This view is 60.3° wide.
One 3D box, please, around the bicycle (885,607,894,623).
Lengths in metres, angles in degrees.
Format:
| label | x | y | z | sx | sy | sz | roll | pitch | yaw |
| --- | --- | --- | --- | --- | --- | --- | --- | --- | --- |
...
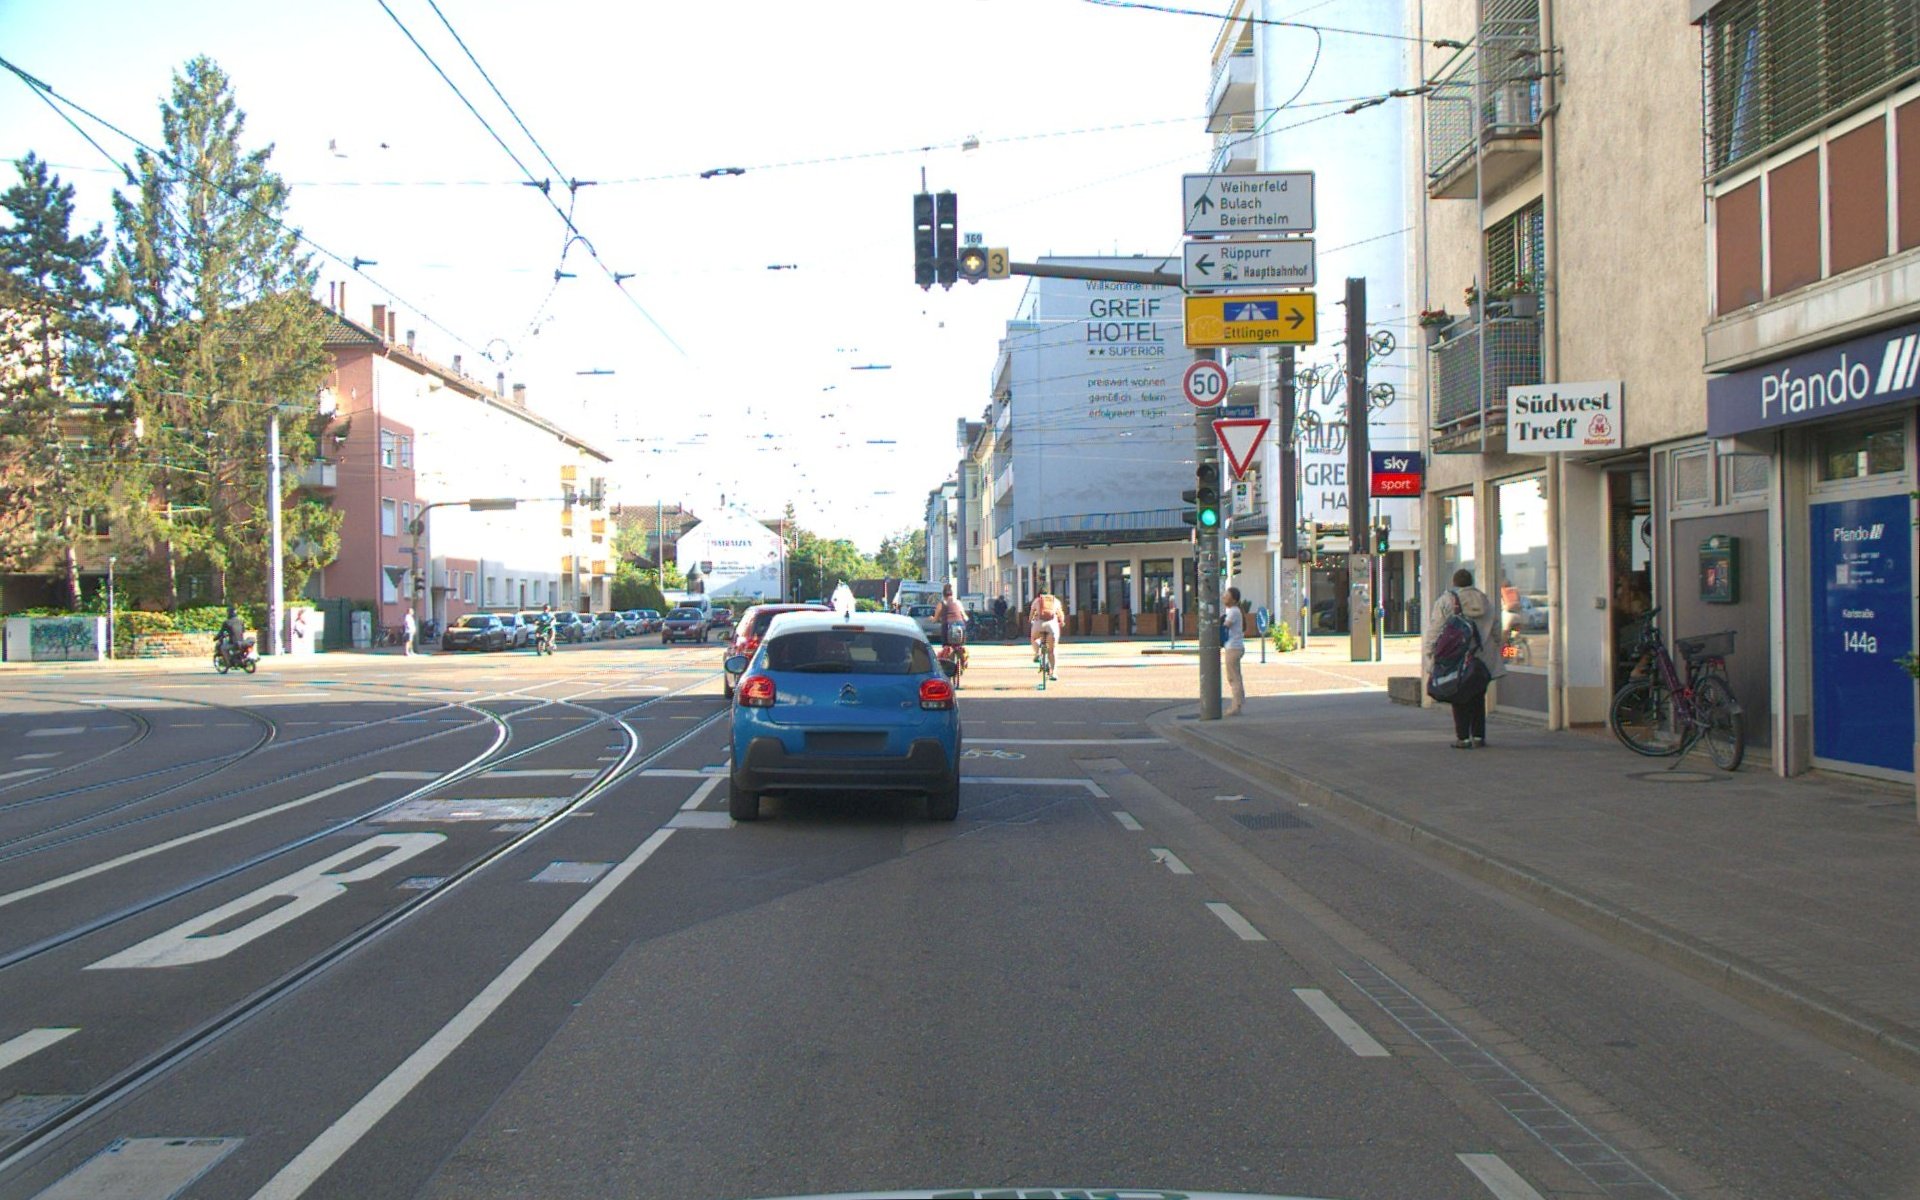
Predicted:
| label | x | y | z | sx | sy | sz | roll | pitch | yaw |
| --- | --- | --- | --- | --- | --- | --- | --- | --- | --- |
| bicycle | -7.596 | 1.633 | 177.467 | 0.774 | 1.699 | 2.230 | 1 | -1 | 3 |

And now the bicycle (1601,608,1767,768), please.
| label | x | y | z | sx | sy | sz | roll | pitch | yaw |
| --- | --- | --- | --- | --- | --- | --- | --- | --- | --- |
| bicycle | 5.701 | 0.663 | 13.127 | 0.486 | 1.182 | 1.776 | 0 | -1 | -2 |

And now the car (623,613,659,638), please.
| label | x | y | z | sx | sy | sz | roll | pitch | yaw |
| --- | --- | --- | --- | --- | --- | --- | --- | --- | --- |
| car | -21.334 | 1.672 | 110.676 | 1.832 | 1.604 | 3.997 | 1 | -1 | -4 |

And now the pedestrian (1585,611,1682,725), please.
| label | x | y | z | sx | sy | sz | roll | pitch | yaw |
| --- | --- | --- | --- | --- | --- | --- | --- | --- | --- |
| pedestrian | 6.776 | 0.669 | 16.654 | 0.618 | 1.107 | 0.670 | -2 | 0 | -36 |

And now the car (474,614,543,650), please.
| label | x | y | z | sx | sy | sz | roll | pitch | yaw |
| --- | --- | --- | --- | --- | --- | --- | --- | --- | --- |
| car | -19.757 | 1.386 | 72.510 | 1.865 | 1.462 | 4.102 | 1 | -1 | -1 |

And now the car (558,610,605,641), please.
| label | x | y | z | sx | sy | sz | roll | pitch | yaw |
| --- | --- | --- | --- | --- | --- | --- | --- | --- | --- |
| car | -20.579 | 1.388 | 90.021 | 1.832 | 1.604 | 3.997 | 1 | -1 | -4 |

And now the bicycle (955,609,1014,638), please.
| label | x | y | z | sx | sy | sz | roll | pitch | yaw |
| --- | --- | --- | --- | --- | --- | --- | --- | --- | --- |
| bicycle | 0.962 | 0.910 | 64.663 | 2.207 | 1.019 | 0.856 | -2 | -1 | -4 |

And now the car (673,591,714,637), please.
| label | x | y | z | sx | sy | sz | roll | pitch | yaw |
| --- | --- | --- | --- | --- | --- | --- | --- | --- | --- |
| car | -19.021 | 1.024 | 118.339 | 2.369 | 3.197 | 3.487 | 1 | -1 | -2 |

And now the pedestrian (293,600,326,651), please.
| label | x | y | z | sx | sy | sz | roll | pitch | yaw |
| --- | --- | --- | --- | --- | --- | --- | --- | --- | --- |
| pedestrian | -22.680 | 0.895 | 57.661 | 0.691 | 1.752 | 0.780 | 0 | -1 | 40 |

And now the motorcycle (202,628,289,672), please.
| label | x | y | z | sx | sy | sz | roll | pitch | yaw |
| --- | --- | --- | --- | --- | --- | --- | --- | --- | --- |
| motorcycle | -18.163 | 1.261 | 42.058 | 1.895 | 1.065 | 0.858 | 1 | -1 | 16 |

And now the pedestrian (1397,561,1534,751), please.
| label | x | y | z | sx | sy | sz | roll | pitch | yaw |
| --- | --- | --- | --- | --- | --- | --- | --- | --- | --- |
| pedestrian | 4.560 | 0.486 | 14.978 | 0.868 | 1.620 | 0.810 | -3 | 1 | -7 |

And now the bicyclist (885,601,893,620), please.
| label | x | y | z | sx | sy | sz | roll | pitch | yaw |
| --- | --- | --- | --- | --- | --- | --- | --- | --- | --- |
| bicyclist | -7.588 | 1.159 | 177.475 | 0.774 | 2.060 | 0.986 | 1 | -1 | 2 |

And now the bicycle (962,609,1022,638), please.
| label | x | y | z | sx | sy | sz | roll | pitch | yaw |
| --- | --- | --- | --- | --- | --- | --- | --- | --- | --- |
| bicycle | 1.203 | 0.910 | 63.290 | 2.207 | 1.019 | 0.856 | -2 | -1 | -4 |

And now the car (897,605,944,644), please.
| label | x | y | z | sx | sy | sz | roll | pitch | yaw |
| --- | --- | --- | --- | --- | --- | --- | --- | --- | --- |
| car | -1.594 | 0.957 | 65.231 | 1.625 | 1.456 | 3.884 | 1 | -1 | -5 |

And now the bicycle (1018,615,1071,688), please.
| label | x | y | z | sx | sy | sz | roll | pitch | yaw |
| --- | --- | --- | --- | --- | --- | --- | --- | --- | --- |
| bicycle | 1.492 | 0.880 | 28.920 | 0.794 | 1.202 | 2.065 | 1 | -1 | 6 |

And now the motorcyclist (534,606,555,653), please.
| label | x | y | z | sx | sy | sz | roll | pitch | yaw |
| --- | --- | --- | --- | --- | --- | --- | --- | --- | --- |
| motorcyclist | -13.584 | 0.963 | 54.076 | 0.681 | 1.523 | 0.682 | 0 | -2 | -15 |

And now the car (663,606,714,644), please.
| label | x | y | z | sx | sy | sz | roll | pitch | yaw |
| --- | --- | --- | --- | --- | --- | --- | --- | --- | --- |
| car | -11.479 | 1.049 | 70.122 | 1.743 | 1.512 | 3.826 | -1 | -1 | -3 |

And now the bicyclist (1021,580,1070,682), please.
| label | x | y | z | sx | sy | sz | roll | pitch | yaw |
| --- | --- | --- | --- | --- | --- | --- | --- | --- | --- |
| bicyclist | 1.501 | 0.538 | 28.879 | 0.794 | 1.721 | 0.936 | 1 | -1 | 6 |

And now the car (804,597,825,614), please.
| label | x | y | z | sx | sy | sz | roll | pitch | yaw |
| --- | --- | --- | --- | --- | --- | --- | --- | --- | --- |
| car | -16.316 | 0.642 | 185.211 | 2.032 | 1.793 | 5.034 | 1 | -1 | -2 |

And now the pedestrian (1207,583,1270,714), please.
| label | x | y | z | sx | sy | sz | roll | pitch | yaw |
| --- | --- | --- | --- | --- | --- | --- | --- | --- | --- |
| pedestrian | 3.642 | 0.628 | 21.639 | 0.528 | 1.652 | 0.733 | -6 | -3 | 23 |

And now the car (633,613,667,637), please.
| label | x | y | z | sx | sy | sz | roll | pitch | yaw |
| --- | --- | --- | --- | --- | --- | --- | --- | --- | --- |
| car | -21.706 | 1.721 | 115.964 | 1.833 | 1.604 | 3.996 | 1 | -1 | -4 |

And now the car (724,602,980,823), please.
| label | x | y | z | sx | sy | sz | roll | pitch | yaw |
| --- | --- | --- | --- | --- | --- | --- | --- | --- | --- |
| car | -0.981 | 0.773 | 13.062 | 1.704 | 1.478 | 3.655 | 0 | -1 | -9 |

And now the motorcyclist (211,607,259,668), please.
| label | x | y | z | sx | sy | sz | roll | pitch | yaw |
| --- | --- | --- | --- | --- | --- | --- | --- | --- | --- |
| motorcyclist | -18.479 | 0.947 | 42.153 | 0.711 | 1.514 | 0.858 | 1 | -1 | 16 |

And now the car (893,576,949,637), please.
| label | x | y | z | sx | sy | sz | roll | pitch | yaw |
| --- | --- | --- | --- | --- | --- | --- | --- | --- | --- |
| car | -1.709 | 0.289 | 70.367 | 2.220 | 2.525 | 5.004 | 0 | -1 | -3 |

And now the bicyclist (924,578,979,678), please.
| label | x | y | z | sx | sy | sz | roll | pitch | yaw |
| --- | --- | --- | --- | --- | --- | --- | --- | --- | --- |
| bicyclist | -0.145 | 0.482 | 29.046 | 0.921 | 1.702 | 1.079 | 1 | -1 | 0 |

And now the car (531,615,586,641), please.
| label | x | y | z | sx | sy | sz | roll | pitch | yaw |
| --- | --- | --- | --- | --- | --- | --- | --- | --- | --- |
| car | -20.358 | 1.403 | 83.978 | 1.908 | 1.261 | 4.280 | 1 | -1 | -3 |

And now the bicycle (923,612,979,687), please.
| label | x | y | z | sx | sy | sz | roll | pitch | yaw |
| --- | --- | --- | --- | --- | --- | --- | --- | --- | --- |
| bicycle | -0.152 | 0.848 | 29.036 | 0.921 | 1.245 | 2.094 | 1 | -1 | 0 |

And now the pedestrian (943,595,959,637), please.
| label | x | y | z | sx | sy | sz | roll | pitch | yaw |
| --- | --- | --- | --- | --- | --- | --- | --- | --- | --- |
| pedestrian | -0.361 | 0.650 | 67.169 | 0.600 | 1.683 | 0.671 | 1 | -1 | 0 |

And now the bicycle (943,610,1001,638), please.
| label | x | y | z | sx | sy | sz | roll | pitch | yaw |
| --- | --- | --- | --- | --- | --- | --- | --- | --- | --- |
| bicycle | 0.467 | 0.938 | 65.756 | 2.207 | 1.019 | 0.856 | -2 | -1 | -4 |

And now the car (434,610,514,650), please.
| label | x | y | z | sx | sy | sz | roll | pitch | yaw |
| --- | --- | --- | --- | --- | --- | --- | --- | --- | --- |
| car | -19.630 | 1.239 | 66.976 | 2.111 | 1.457 | 4.436 | 1 | -2 | -3 |

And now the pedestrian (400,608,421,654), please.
| label | x | y | z | sx | sy | sz | roll | pitch | yaw |
| --- | --- | --- | --- | --- | --- | --- | --- | --- | --- |
| pedestrian | -19.575 | 1.100 | 58.937 | 0.506 | 1.596 | 0.573 | 1 | -1 | -2 |

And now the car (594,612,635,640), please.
| label | x | y | z | sx | sy | sz | roll | pitch | yaw |
| --- | --- | --- | --- | --- | --- | --- | --- | --- | --- |
| car | -20.983 | 1.572 | 100.528 | 1.832 | 1.604 | 3.997 | 1 | -1 | -4 |

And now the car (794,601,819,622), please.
| label | x | y | z | sx | sy | sz | roll | pitch | yaw |
| --- | --- | --- | --- | --- | --- | --- | --- | --- | --- |
| car | -15.527 | 1.172 | 167.854 | 2.173 | 1.965 | 4.947 | 1 | -1 | -2 |

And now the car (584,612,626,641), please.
| label | x | y | z | sx | sy | sz | roll | pitch | yaw |
| --- | --- | --- | --- | --- | --- | --- | --- | --- | --- |
| car | -20.598 | 1.533 | 96.083 | 1.832 | 1.604 | 3.997 | 1 | -1 | -4 |

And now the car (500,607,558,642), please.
| label | x | y | z | sx | sy | sz | roll | pitch | yaw |
| --- | --- | --- | --- | --- | --- | --- | --- | --- | --- |
| car | -20.062 | 1.153 | 77.103 | 1.706 | 1.553 | 4.228 | 1 | -1 | -2 |

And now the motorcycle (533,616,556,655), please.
| label | x | y | z | sx | sy | sz | roll | pitch | yaw |
| --- | --- | --- | --- | --- | --- | --- | --- | --- | --- |
| motorcycle | -13.587 | 1.174 | 54.094 | 0.700 | 1.241 | 1.958 | 0 | -2 | -14 |

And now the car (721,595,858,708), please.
| label | x | y | z | sx | sy | sz | roll | pitch | yaw |
| --- | --- | --- | --- | --- | --- | --- | --- | --- | --- |
| car | -2.672 | 0.729 | 25.234 | 1.752 | 1.548 | 3.753 | 1 | 0 | -11 |
